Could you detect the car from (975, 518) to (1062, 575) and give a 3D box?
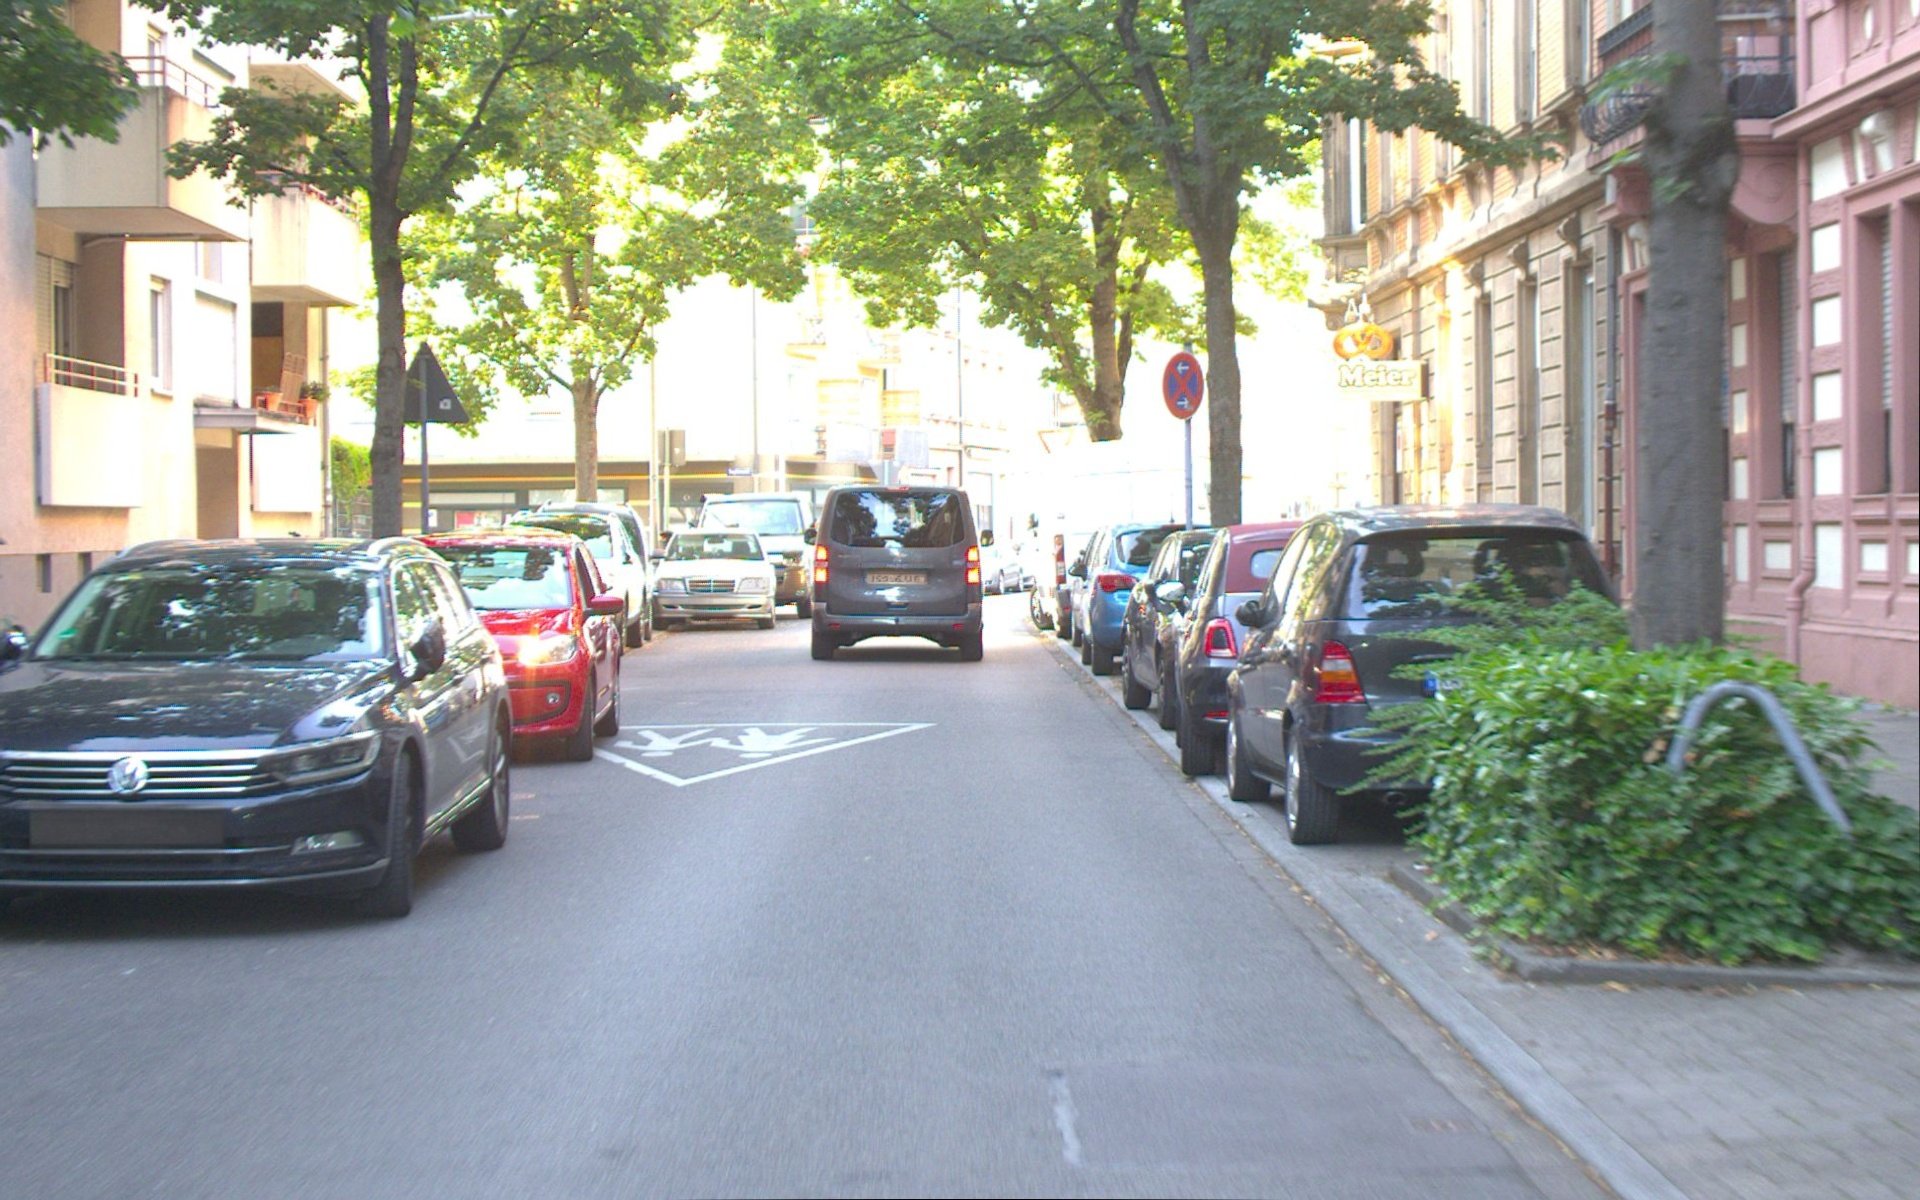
[{"bbox_3d":[1.678,-1.522,97.187,1.796,1.573,3.746,0,1,11],"label":"car"}]

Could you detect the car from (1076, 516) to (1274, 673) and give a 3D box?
[{"bbox_3d":[2.100,-0.098,34.433,1.750,1.466,3.776,0,1,0],"label":"car"}]

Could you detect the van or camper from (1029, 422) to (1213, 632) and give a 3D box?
[{"bbox_3d":[2.055,-0.973,45.398,1.993,2.590,5.425,0,1,-2],"label":"van or camper"}]

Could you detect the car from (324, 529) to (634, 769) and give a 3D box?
[{"bbox_3d":[-3.132,0.266,22.968,1.630,1.425,3.543,-1,1,-1],"label":"car"}]

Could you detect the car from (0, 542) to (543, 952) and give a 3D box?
[{"bbox_3d":[-2.977,0.497,14.718,1.846,1.446,4.503,0,1,0],"label":"car"}]

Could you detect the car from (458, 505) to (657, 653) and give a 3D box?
[{"bbox_3d":[-4.708,-0.289,40.744,1.897,1.631,4.156,1,1,-1],"label":"car"}]

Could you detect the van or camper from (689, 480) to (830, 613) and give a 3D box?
[{"bbox_3d":[-3.125,-0.863,54.392,1.862,1.976,4.271,-1,1,1],"label":"van or camper"}]

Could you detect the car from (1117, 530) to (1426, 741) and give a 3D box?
[{"bbox_3d":[2.222,0.202,25.432,1.715,1.398,3.814,-1,1,-3],"label":"car"}]

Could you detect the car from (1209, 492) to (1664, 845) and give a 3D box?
[{"bbox_3d":[2.290,0.258,17.408,1.611,1.553,3.767,-2,2,-2],"label":"car"}]

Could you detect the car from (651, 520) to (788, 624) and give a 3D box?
[{"bbox_3d":[-3.410,-0.430,49.297,1.741,1.399,3.375,-1,1,-1],"label":"car"}]

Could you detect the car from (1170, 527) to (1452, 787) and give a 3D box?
[{"bbox_3d":[2.142,0.293,21.709,1.551,1.491,3.610,0,1,2],"label":"car"}]

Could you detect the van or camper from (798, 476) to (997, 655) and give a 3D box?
[{"bbox_3d":[-0.640,-0.418,38.467,2.035,1.891,4.271,0,1,1],"label":"van or camper"}]

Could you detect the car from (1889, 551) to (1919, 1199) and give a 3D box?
[{"bbox_3d":[2.380,0.669,3.286,1.697,1.477,4.001,-2,1,-2],"label":"car"}]

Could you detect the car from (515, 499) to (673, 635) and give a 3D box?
[{"bbox_3d":[-4.812,-0.468,45.568,1.741,1.706,3.375,1,1,-1],"label":"car"}]

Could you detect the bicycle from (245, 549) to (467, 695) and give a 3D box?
[{"bbox_3d":[-5.132,0.169,29.278,0.605,1.191,1.824,3,3,45],"label":"bicycle"}]

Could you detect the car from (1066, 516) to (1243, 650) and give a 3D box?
[{"bbox_3d":[2.193,-0.235,39.688,1.750,1.466,3.776,0,1,-1],"label":"car"}]

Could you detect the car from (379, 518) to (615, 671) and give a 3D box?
[{"bbox_3d":[-4.777,-0.099,35.912,1.740,1.479,3.839,1,1,3],"label":"car"}]
